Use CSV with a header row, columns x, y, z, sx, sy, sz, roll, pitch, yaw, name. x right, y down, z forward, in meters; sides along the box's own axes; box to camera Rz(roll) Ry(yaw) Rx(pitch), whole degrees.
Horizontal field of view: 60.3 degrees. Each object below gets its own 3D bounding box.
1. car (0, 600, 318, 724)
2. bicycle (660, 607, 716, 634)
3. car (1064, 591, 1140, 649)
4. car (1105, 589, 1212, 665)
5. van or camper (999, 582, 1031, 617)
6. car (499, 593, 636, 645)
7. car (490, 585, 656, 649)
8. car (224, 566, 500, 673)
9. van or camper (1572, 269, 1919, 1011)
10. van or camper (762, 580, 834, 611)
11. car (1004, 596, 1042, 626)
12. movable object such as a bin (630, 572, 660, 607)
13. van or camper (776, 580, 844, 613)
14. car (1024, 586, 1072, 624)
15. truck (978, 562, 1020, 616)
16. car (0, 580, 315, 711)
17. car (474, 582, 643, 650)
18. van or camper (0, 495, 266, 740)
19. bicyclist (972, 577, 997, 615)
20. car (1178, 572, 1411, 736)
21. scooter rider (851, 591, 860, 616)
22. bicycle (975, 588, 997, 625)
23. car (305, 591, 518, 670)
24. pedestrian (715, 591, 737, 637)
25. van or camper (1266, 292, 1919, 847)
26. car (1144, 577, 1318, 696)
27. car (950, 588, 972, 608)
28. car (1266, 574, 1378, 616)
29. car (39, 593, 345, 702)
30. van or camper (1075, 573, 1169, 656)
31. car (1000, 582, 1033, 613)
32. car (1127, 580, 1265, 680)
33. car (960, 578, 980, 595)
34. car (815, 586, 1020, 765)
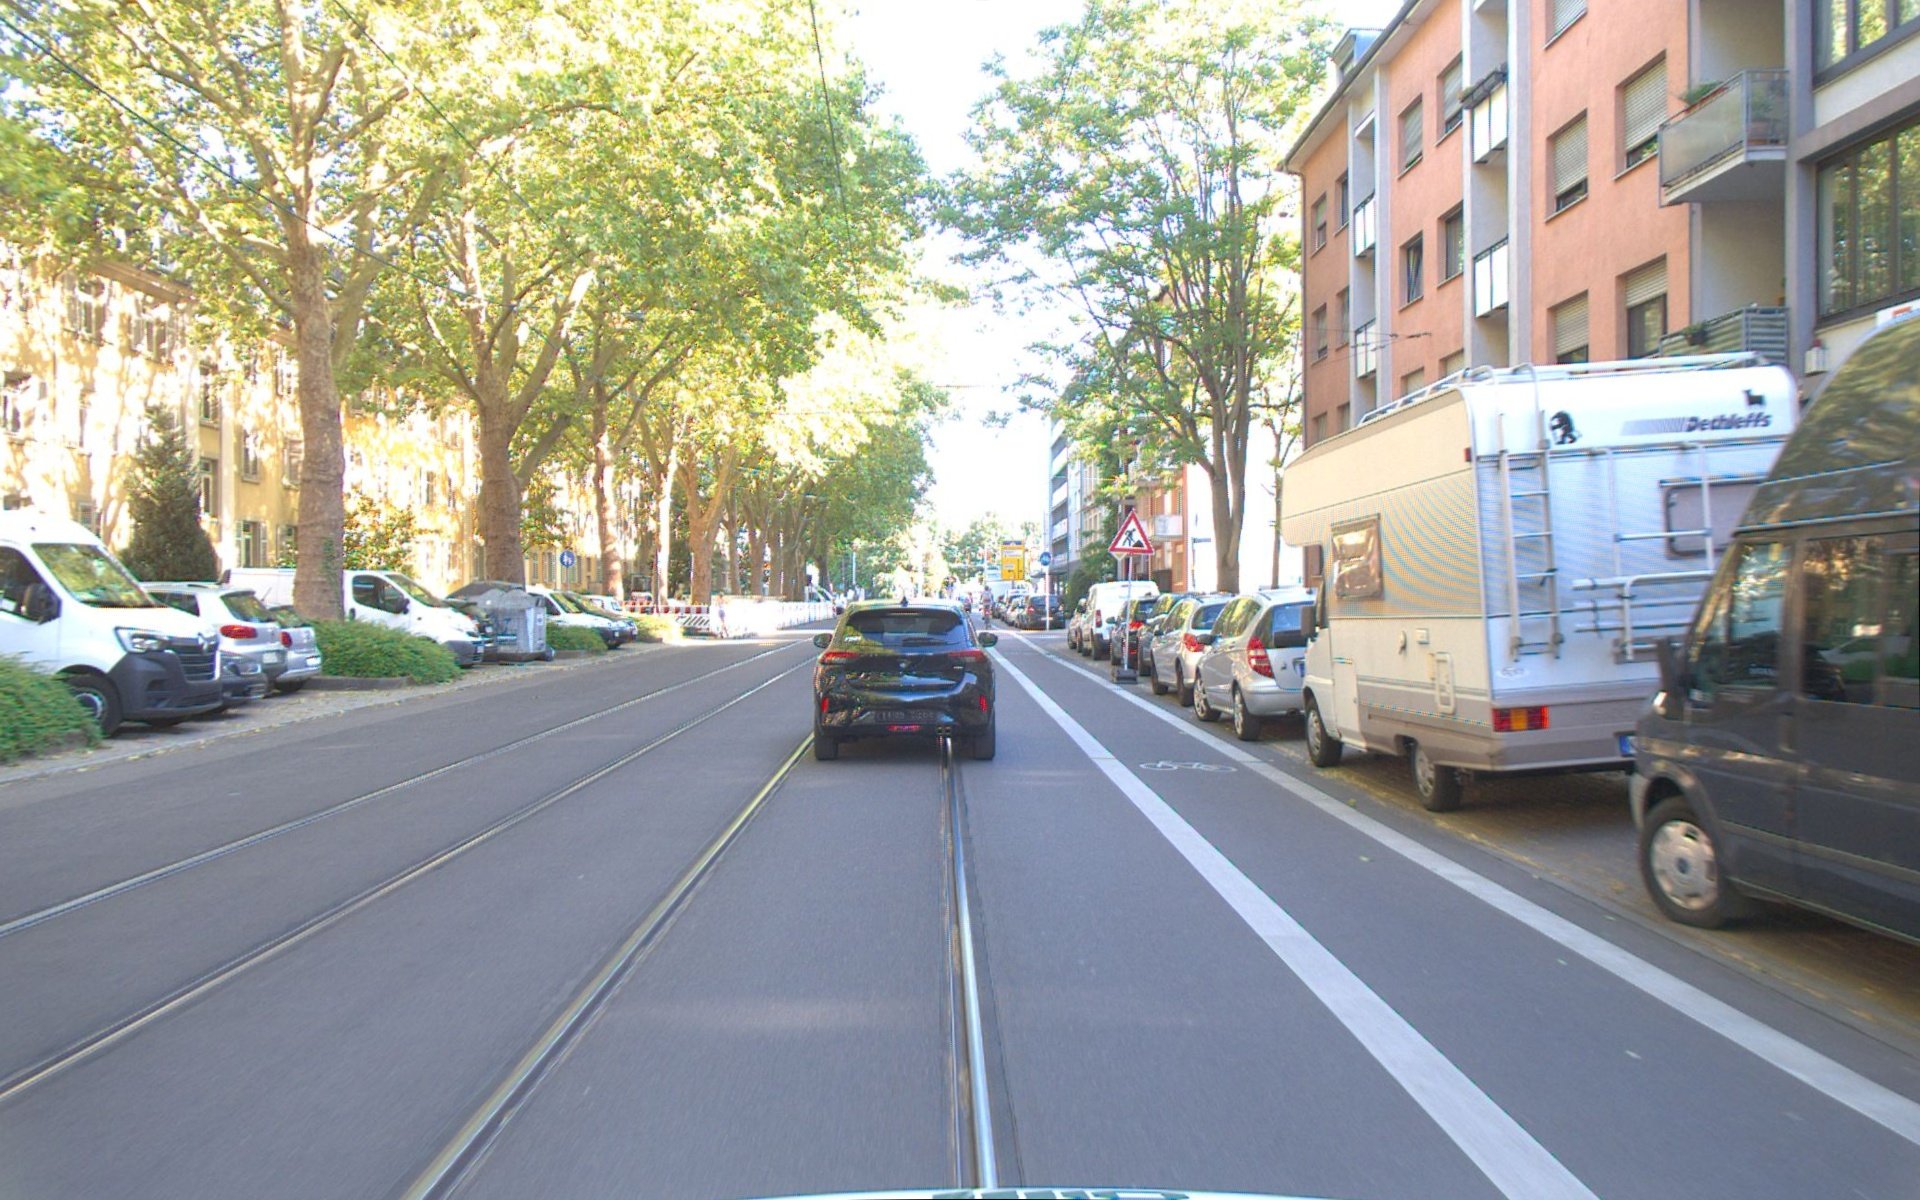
x,y,z,sx,sy,sz,roll,pitch,yaw,name
-10.519,0.752,20.786,4.177,1.423,1.753,-1,0,-1,car
-10.013,0.743,60.831,1.932,0.979,0.726,0,0,0,bicycle
3.888,0.512,45.840,1.671,1.498,3.999,-1,0,-1,car
4.131,0.522,34.945,1.671,1.498,4.167,-1,0,-1,car
3.104,-0.060,94.625,1.635,1.915,4.210,-2,0,0,van or camper
-12.112,0.565,51.151,3.769,1.524,1.862,-1,0,-1,car
-10.953,0.479,46.988,4.145,1.717,1.934,-1,0,6,car
-11.322,0.358,31.570,4.565,1.979,1.960,0,0,-4,car
4.526,0.116,6.676,2.089,2.709,4.978,-2,0,-1,van or camper
-12.974,-0.344,132.724,5.387,2.421,2.270,1,0,3,van or camper
3.182,0.538,84.573,1.626,1.424,4.739,-2,0,-1,car
-17.600,-0.583,92.476,1.306,1.901,2.007,1,0,-1,movable object such as a bin
-12.877,-0.304,142.152,5.607,2.690,2.269,1,0,-1,van or camper
3.730,0.210,70.303,1.698,1.487,3.915,-2,0,-1,car
2.619,-0.696,111.984,2.487,3.396,7.194,-3,0,0,truck
-11.220,0.603,22.940,3.769,1.692,1.862,-1,0,-1,car
-10.820,0.425,44.747,4.112,1.788,1.740,0,0,0,car
-10.950,0.173,18.555,5.279,2.560,2.444,0,0,-1,van or camper
1.055,-0.167,72.877,1.067,1.676,1.400,0,0,0,bicyclist
3.801,0.555,19.529,1.756,1.656,4.275,-2,0,-1,car
-8.358,0.287,132.101,0.636,1.991,0.624,1,-1,-1,scooter rider
1.149,0.275,72.859,0.897,1.588,3.404,0,0,0,bicycle
-11.340,0.614,34.394,3.769,1.524,1.862,-1,0,-1,car
-8.614,0.519,60.915,0.702,1.698,0.778,1,-1,0,pedestrian
4.297,-0.200,12.727,2.412,3.117,6.265,-2,0,-2,van or camper
3.939,0.491,24.714,1.752,1.548,4.321,-2,0,-1,car
0.104,-0.189,156.776,1.953,1.725,4.739,-2,0,-1,car
13.551,-0.201,62.071,3.835,1.508,1.561,0,3,-2,car
-11.635,0.694,25.261,3.769,1.524,1.862,-1,0,-1,car
3.905,0.322,40.578,1.719,1.897,4.829,-1,0,-1,van or camper
3.037,-0.140,89.878,1.626,1.608,3.588,-2,0,0,car
4.170,0.497,29.866,1.732,1.599,4.336,-2,0,-1,car
1.048,-1.452,176.044,1.953,1.725,4.739,-2,0,-1,car
-0.400,0.636,16.086,1.745,1.522,3.999,0,0,-1,car
